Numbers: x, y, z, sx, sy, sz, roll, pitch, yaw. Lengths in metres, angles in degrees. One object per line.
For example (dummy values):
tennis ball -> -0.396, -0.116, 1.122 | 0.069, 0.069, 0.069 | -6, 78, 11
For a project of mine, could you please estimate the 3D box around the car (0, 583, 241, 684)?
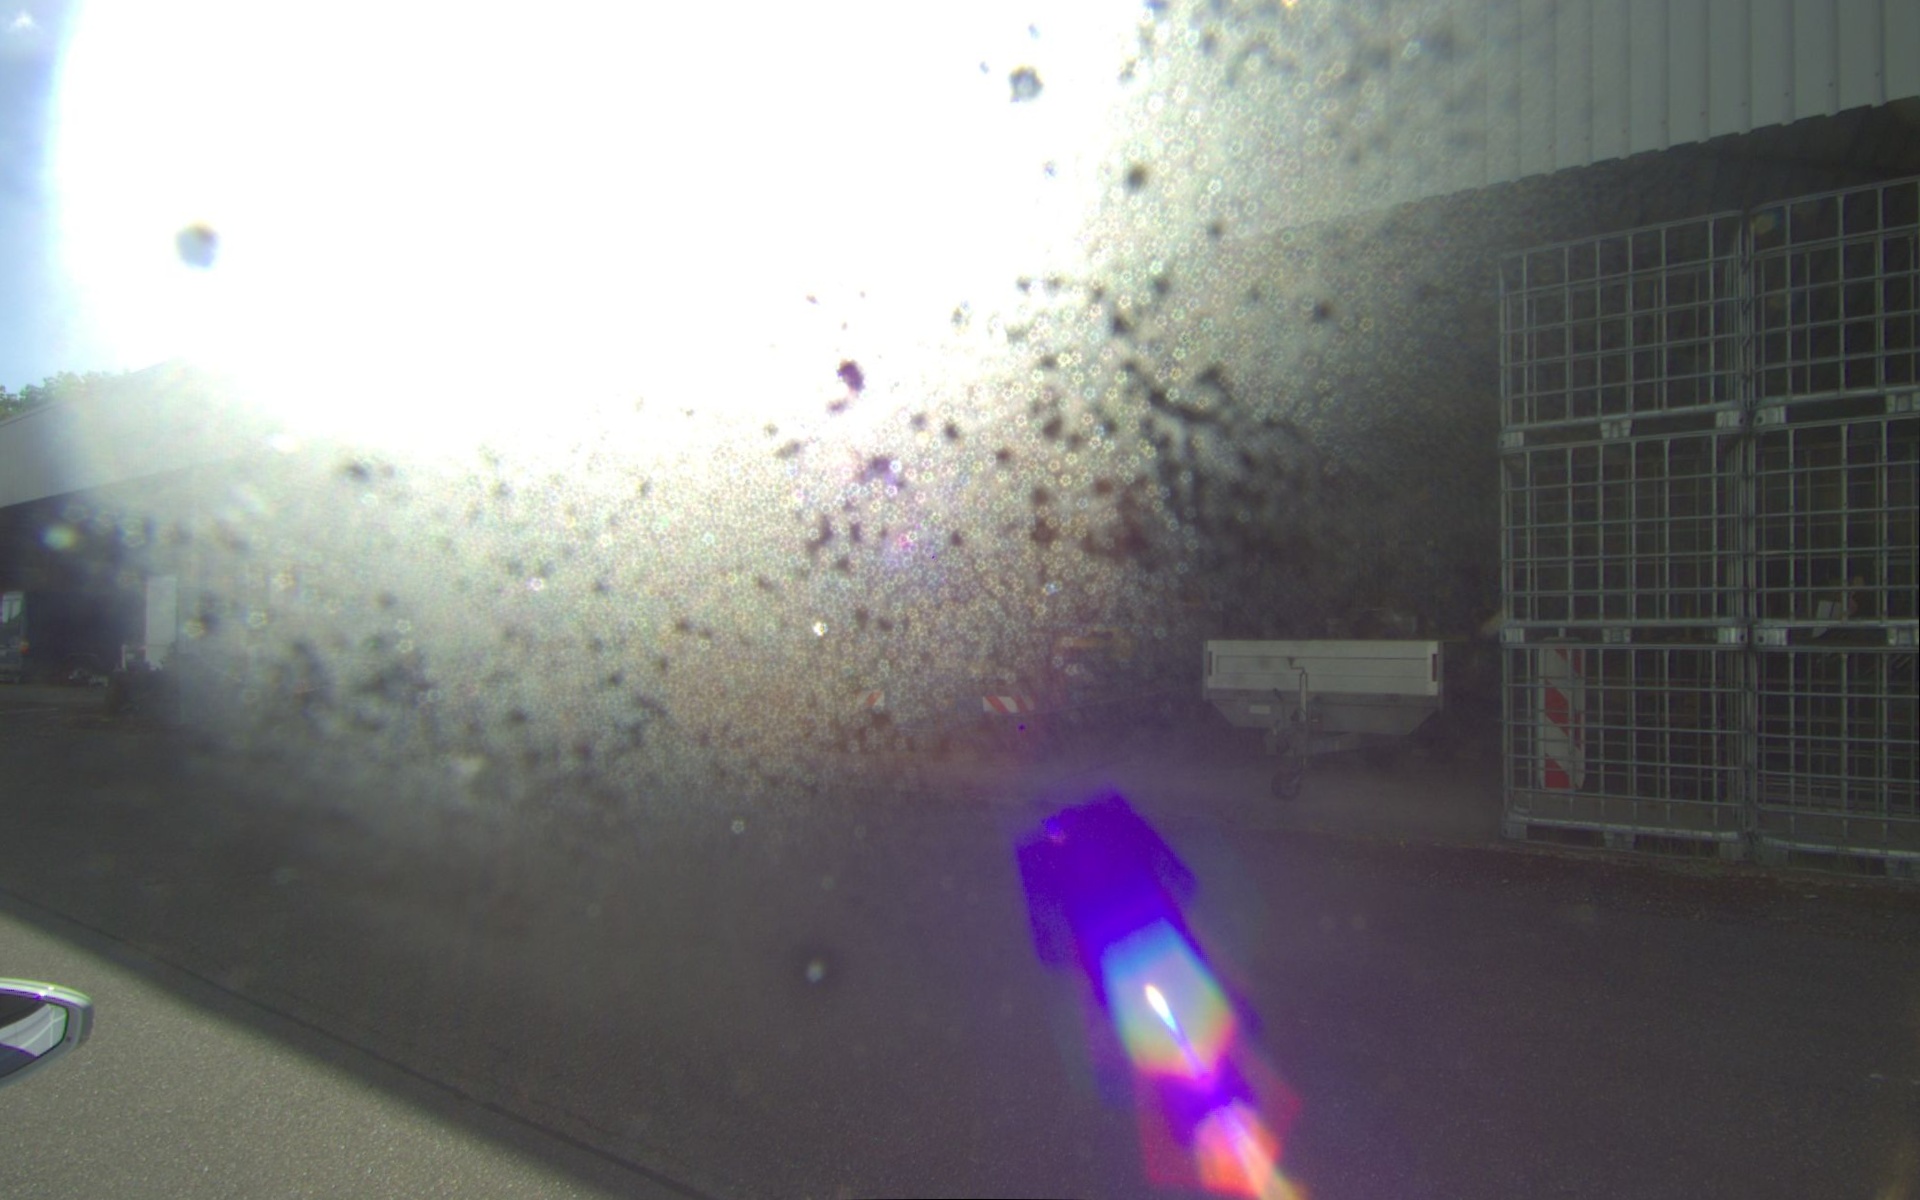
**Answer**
car -> -21.371, 0.935, 25.636 | 1.890, 2.337, 4.425 | -3, -4, 33

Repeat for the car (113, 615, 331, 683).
car -> -18.218, 1.251, 24.907 | 1.662, 1.543, 4.031 | -3, -5, 33

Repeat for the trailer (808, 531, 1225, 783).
trailer -> 1.012, 0.523, 11.153 | 2.049, 2.058, 5.753 | -1, -1, 33

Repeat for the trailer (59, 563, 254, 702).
trailer -> -15.263, 0.631, 19.090 | 1.703, 2.429, 2.518 | -2, -2, 33

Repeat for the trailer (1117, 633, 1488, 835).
trailer -> 3.505, 0.917, 9.172 | 2.110, 1.148, 5.840 | -1, -1, 30

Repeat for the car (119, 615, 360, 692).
car -> -15.879, 1.225, 22.291 | 1.662, 1.543, 4.031 | -3, -5, 33
